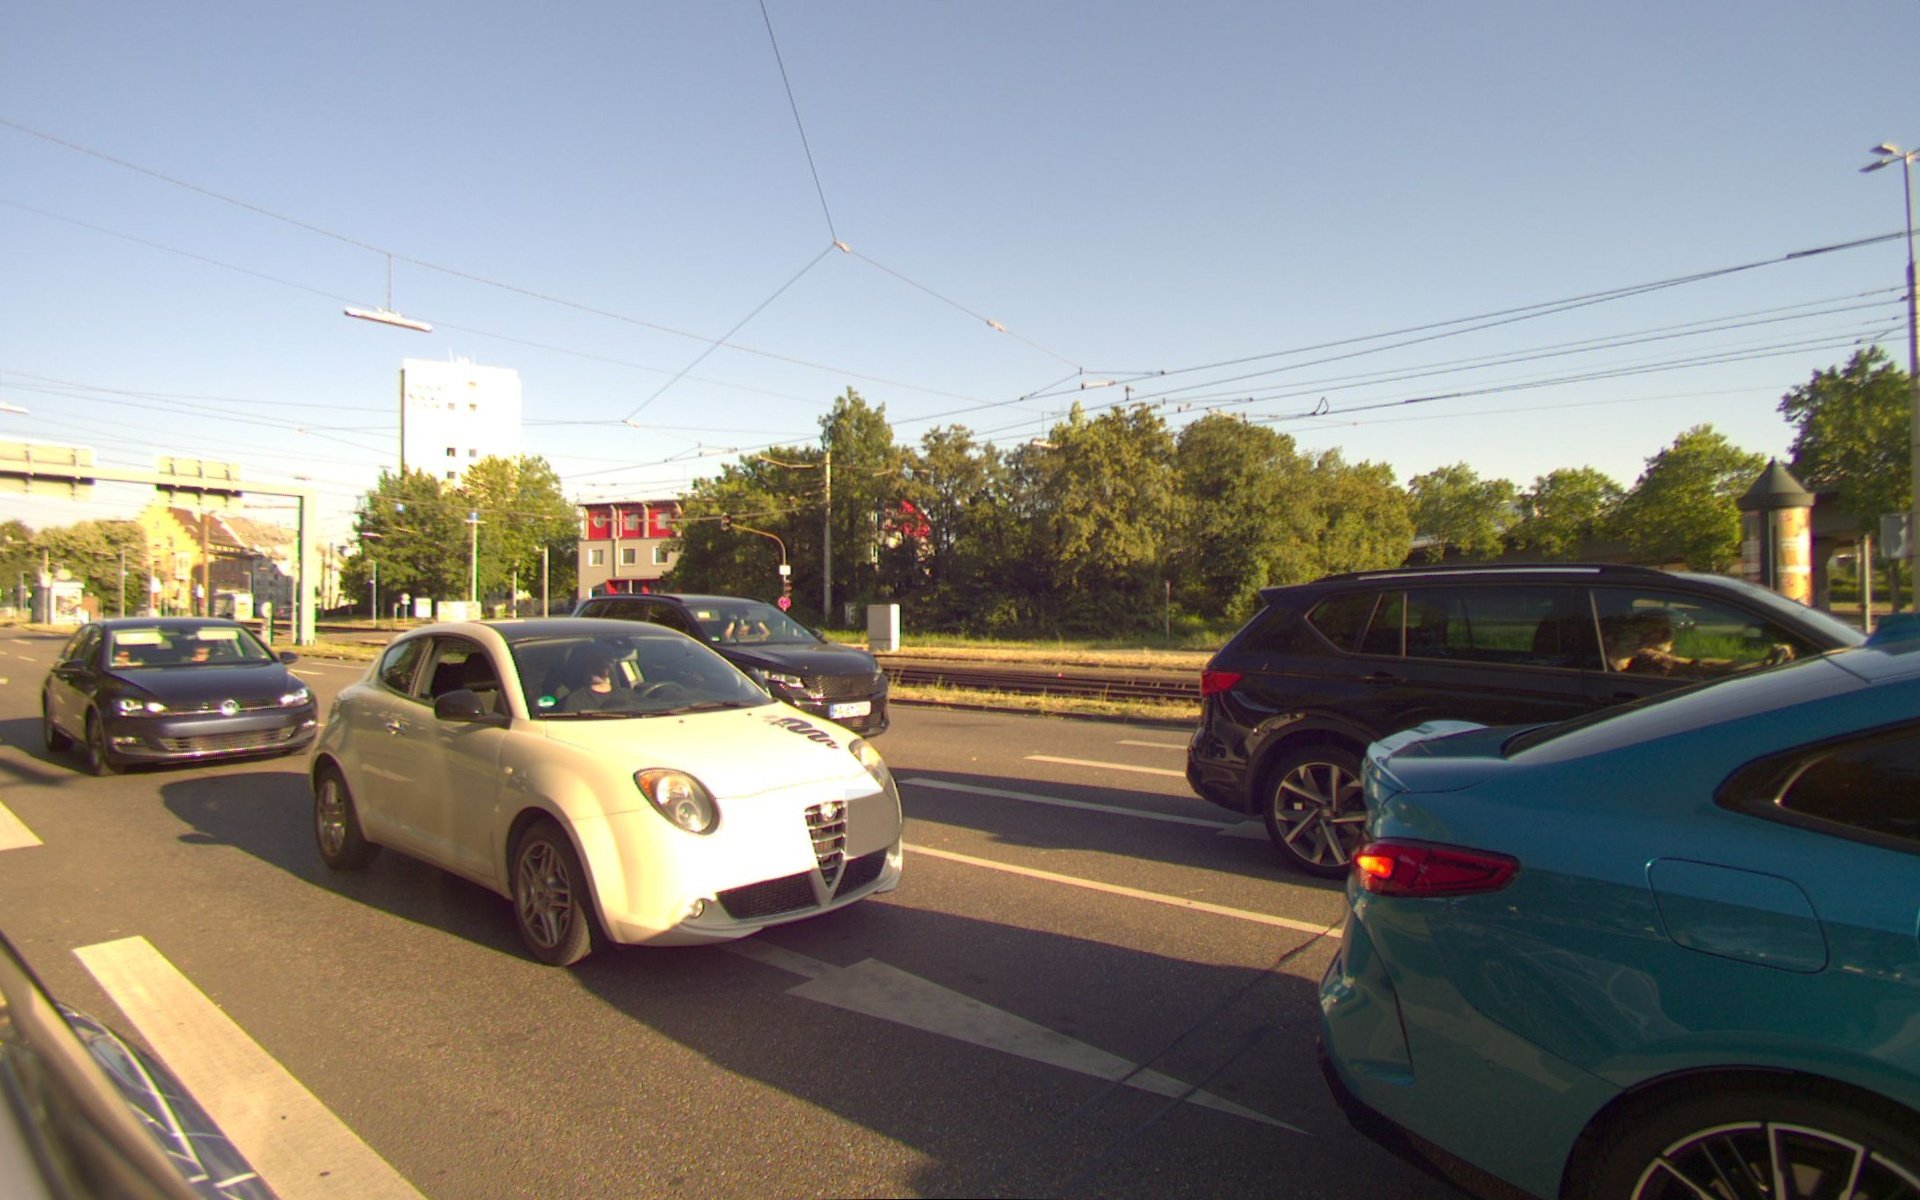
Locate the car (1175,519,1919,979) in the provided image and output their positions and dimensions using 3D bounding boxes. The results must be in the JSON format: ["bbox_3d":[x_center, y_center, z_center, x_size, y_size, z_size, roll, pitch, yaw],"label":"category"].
[{"bbox_3d":[3.546,0.578,4.966,4.624,1.692,1.794,-2,-2,43],"label":"car"}]

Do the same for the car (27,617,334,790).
[{"bbox_3d":[-8.193,0.909,10.515,3.997,1.448,1.719,-1,-1,40],"label":"car"}]

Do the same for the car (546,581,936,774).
[{"bbox_3d":[-2.479,0.728,10.880,4.273,1.675,1.881,-1,-2,40],"label":"car"}]

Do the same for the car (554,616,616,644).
[{"bbox_3d":[-23.844,1.896,64.217,4.755,1.691,1.729,-1,-1,42],"label":"car"}]

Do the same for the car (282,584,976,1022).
[{"bbox_3d":[-1.998,0.756,5.473,3.997,1.517,1.719,-1,-2,40],"label":"car"}]

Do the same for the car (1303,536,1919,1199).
[{"bbox_3d":[2.880,0.634,1.459,4.201,1.477,1.697,-1,-2,38],"label":"car"}]
